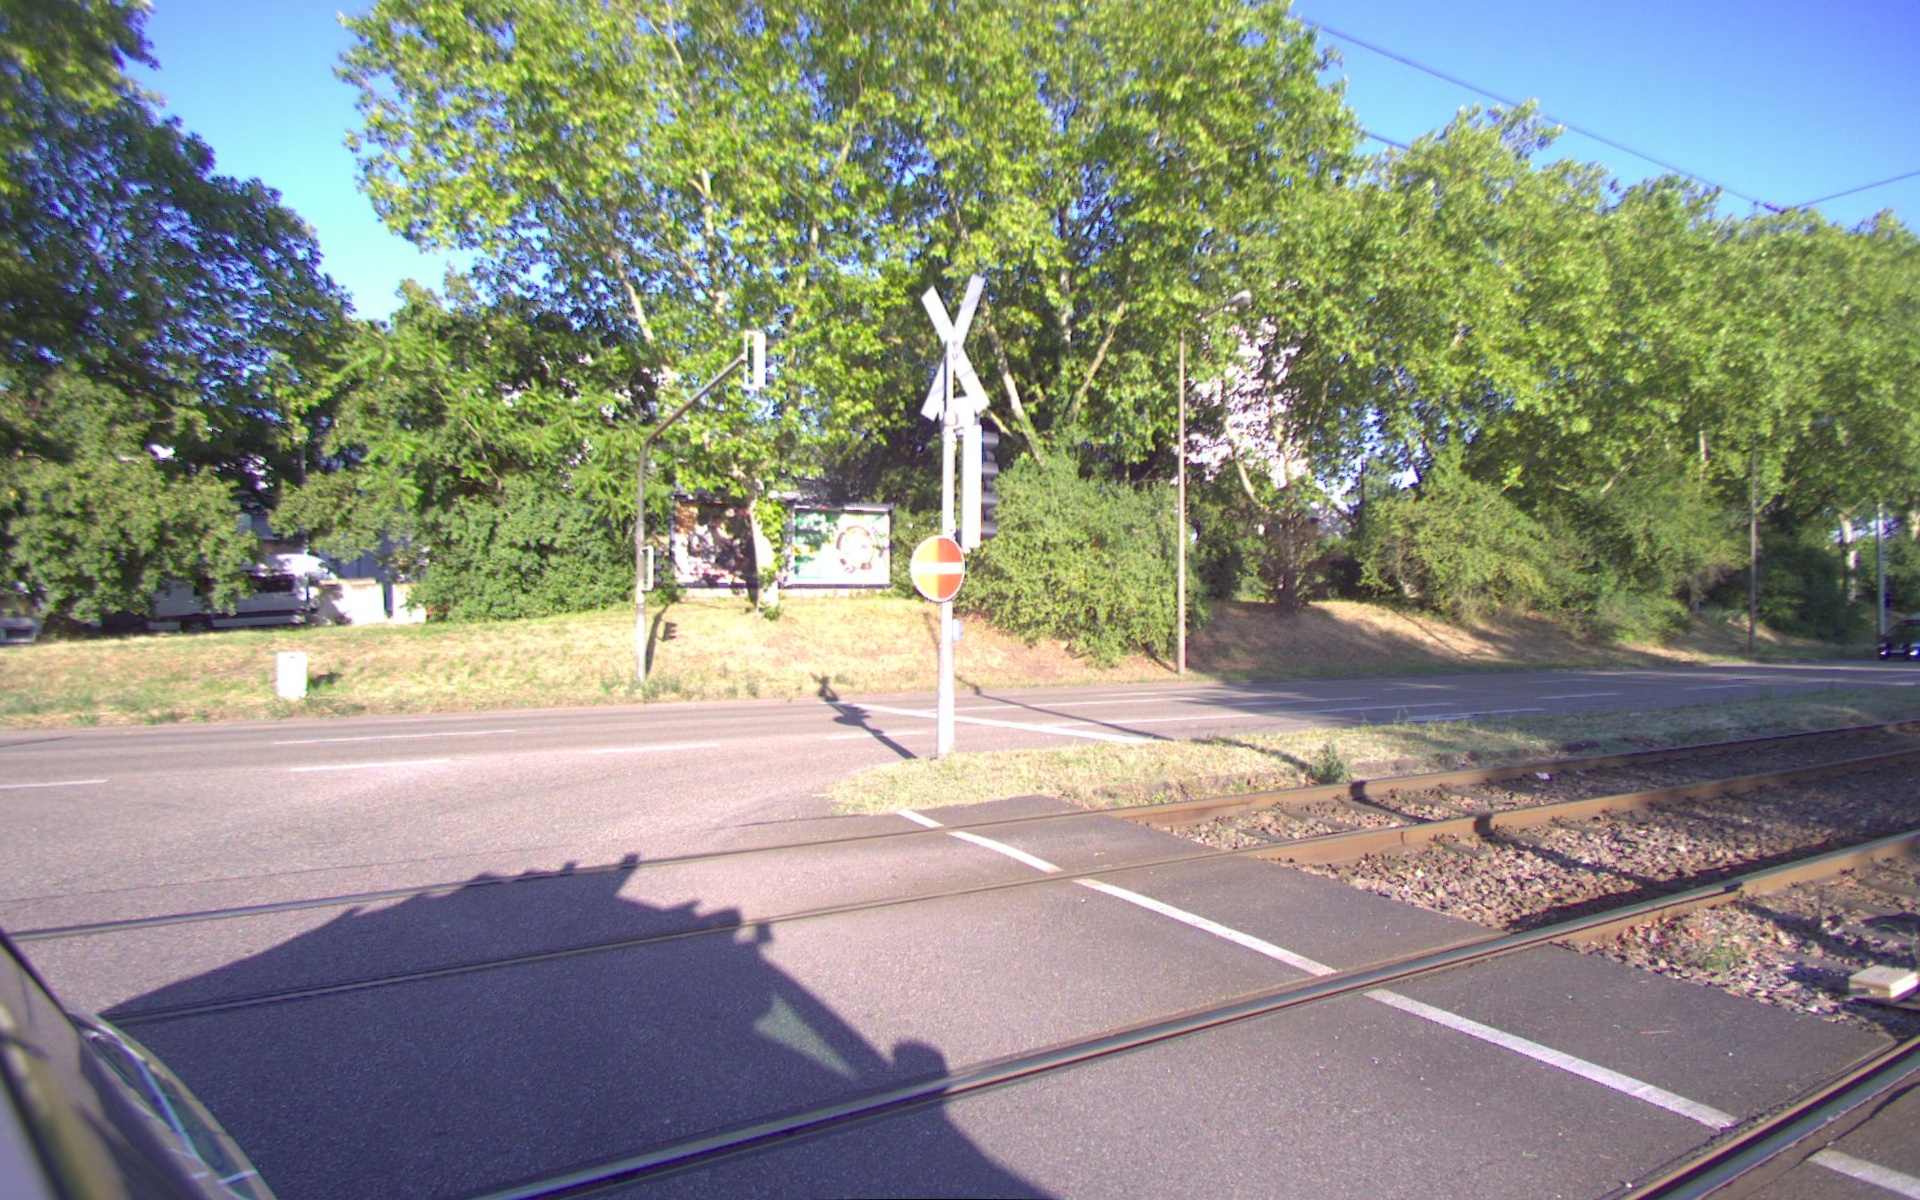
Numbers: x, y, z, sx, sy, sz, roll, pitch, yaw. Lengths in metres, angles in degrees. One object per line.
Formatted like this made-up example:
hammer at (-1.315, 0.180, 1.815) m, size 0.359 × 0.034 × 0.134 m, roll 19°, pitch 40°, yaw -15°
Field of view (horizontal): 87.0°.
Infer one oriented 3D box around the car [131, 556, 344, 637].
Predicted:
car at (-23.941, -0.072, 33.843) m, size 5.530 × 2.532 × 1.812 m, roll 0°, pitch -2°, yaw -24°

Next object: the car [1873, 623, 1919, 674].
car at (42.503, 2.111, 44.588) m, size 4.118 × 2.179 × 2.006 m, roll 1°, pitch -2°, yaw -28°
